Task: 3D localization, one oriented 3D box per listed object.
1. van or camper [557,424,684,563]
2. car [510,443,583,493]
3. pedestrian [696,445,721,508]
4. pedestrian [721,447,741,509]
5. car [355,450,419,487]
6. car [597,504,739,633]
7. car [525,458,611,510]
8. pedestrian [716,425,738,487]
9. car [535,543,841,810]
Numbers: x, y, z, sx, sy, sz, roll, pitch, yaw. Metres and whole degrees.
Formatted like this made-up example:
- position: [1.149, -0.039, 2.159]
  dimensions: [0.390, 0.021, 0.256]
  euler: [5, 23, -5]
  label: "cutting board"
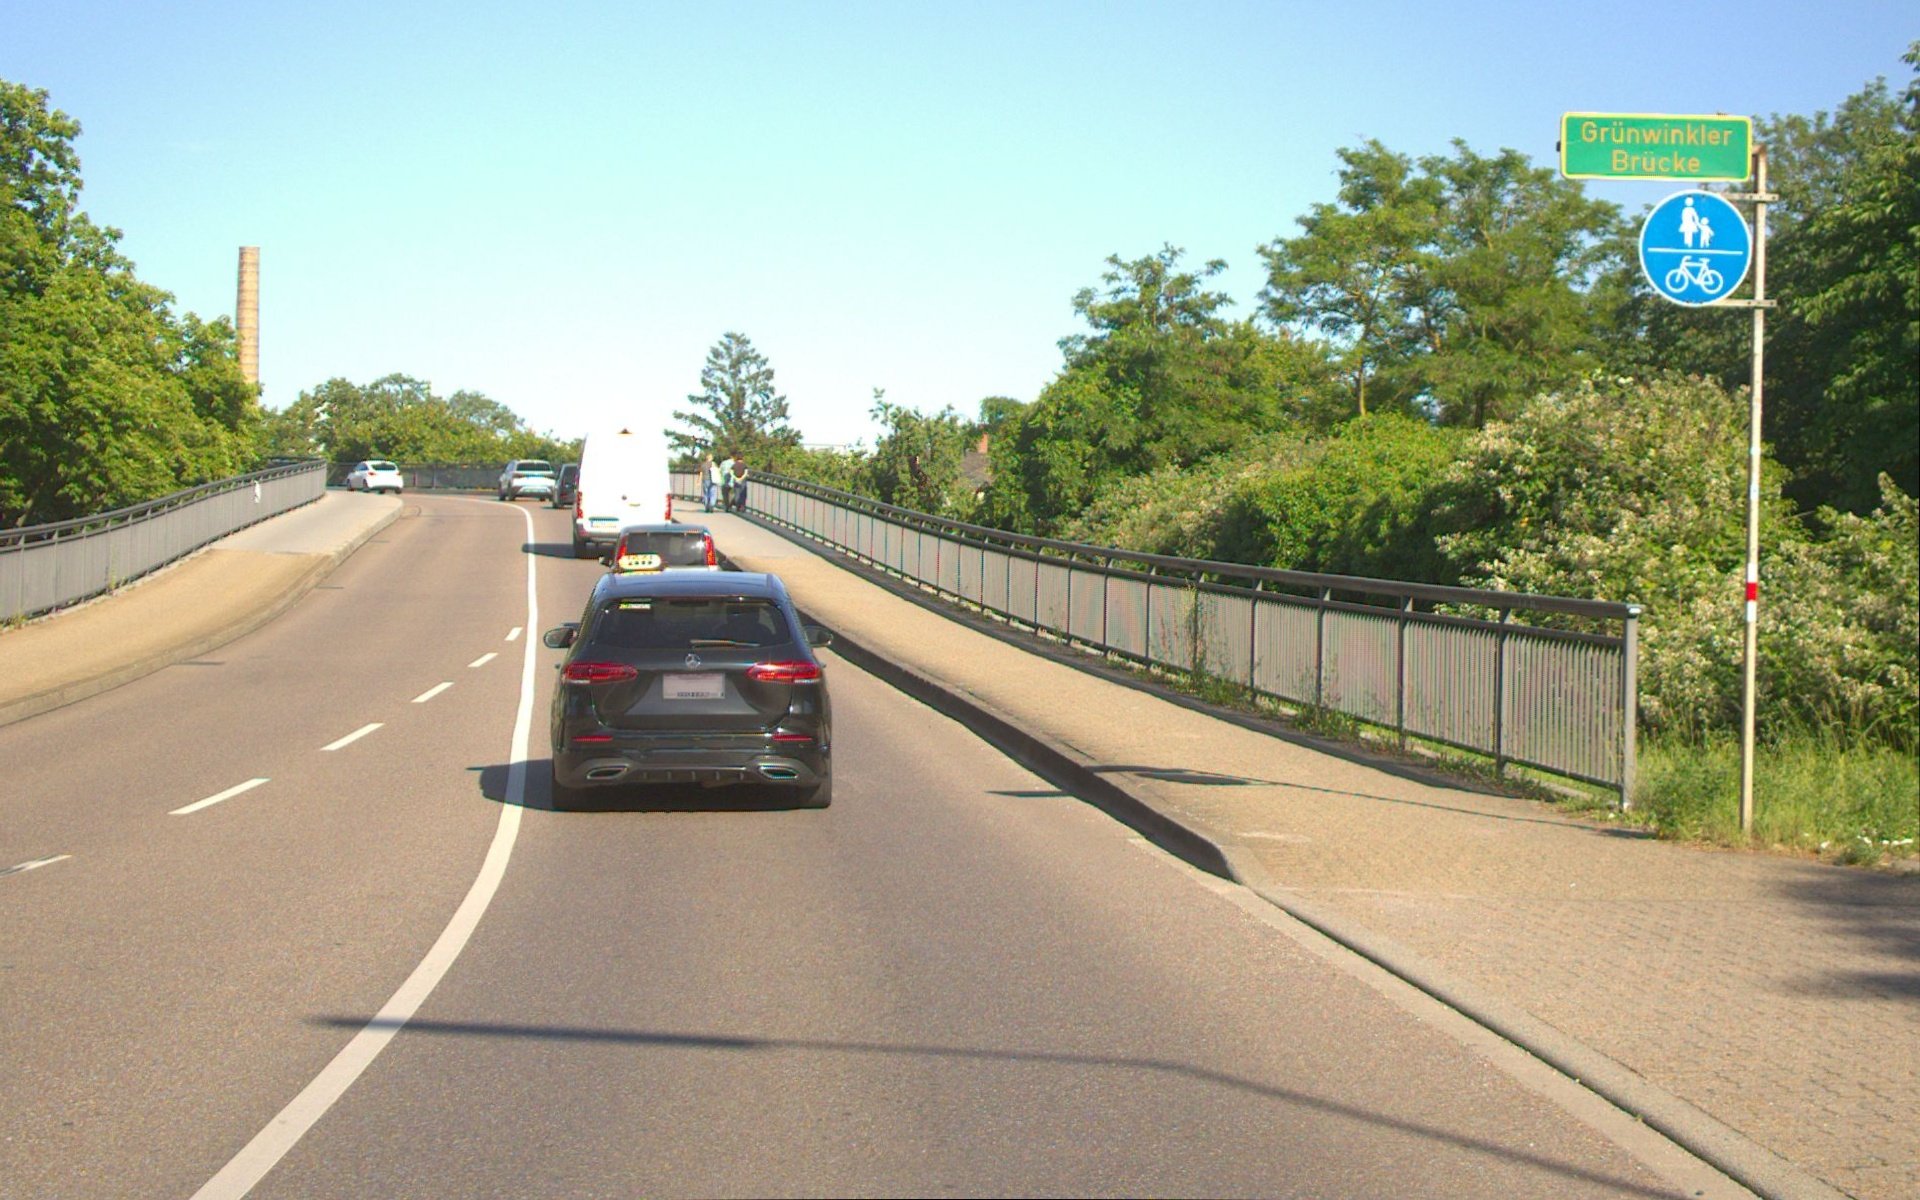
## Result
- position: [-7.300, -2.207, 73.298]
  dimensions: [2.225, 2.730, 7.082]
  euler: [2, 0, -9]
  label: "van or camper"
- position: [-15.501, -4.931, 128.899]
  dimensions: [1.994, 1.674, 3.999]
  euler: [0, -1, 4]
  label: "car"
- position: [-7.199, -3.526, 98.347]
  dimensions: [0.602, 1.744, 0.717]
  euler: [2, 0, -7]
  label: "pedestrian"
- position: [-6.553, -3.502, 98.419]
  dimensions: [0.471, 1.744, 0.654]
  euler: [2, 0, -7]
  label: "pedestrian"
- position: [-26.105, -5.961, 156.543]
  dimensions: [1.876, 1.538, 4.001]
  euler: [2, 0, -24]
  label: "car"
- position: [-3.990, -0.395, 47.493]
  dimensions: [1.804, 1.634, 4.000]
  euler: [2, -1, -4]
  label: "car"
- position: [-12.718, -3.761, 111.815]
  dimensions: [1.919, 1.483, 4.269]
  euler: [1, -1, 5]
  label: "car"
- position: [-6.718, -4.144, 99.162]
  dimensions: [0.549, 1.744, 0.739]
  euler: [2, 0, -7]
  label: "pedestrian"
- position: [-1.741, 0.438, 23.128]
  dimensions: [1.769, 1.587, 3.989]
  euler: [1, 1, -1]
  label: "car"
